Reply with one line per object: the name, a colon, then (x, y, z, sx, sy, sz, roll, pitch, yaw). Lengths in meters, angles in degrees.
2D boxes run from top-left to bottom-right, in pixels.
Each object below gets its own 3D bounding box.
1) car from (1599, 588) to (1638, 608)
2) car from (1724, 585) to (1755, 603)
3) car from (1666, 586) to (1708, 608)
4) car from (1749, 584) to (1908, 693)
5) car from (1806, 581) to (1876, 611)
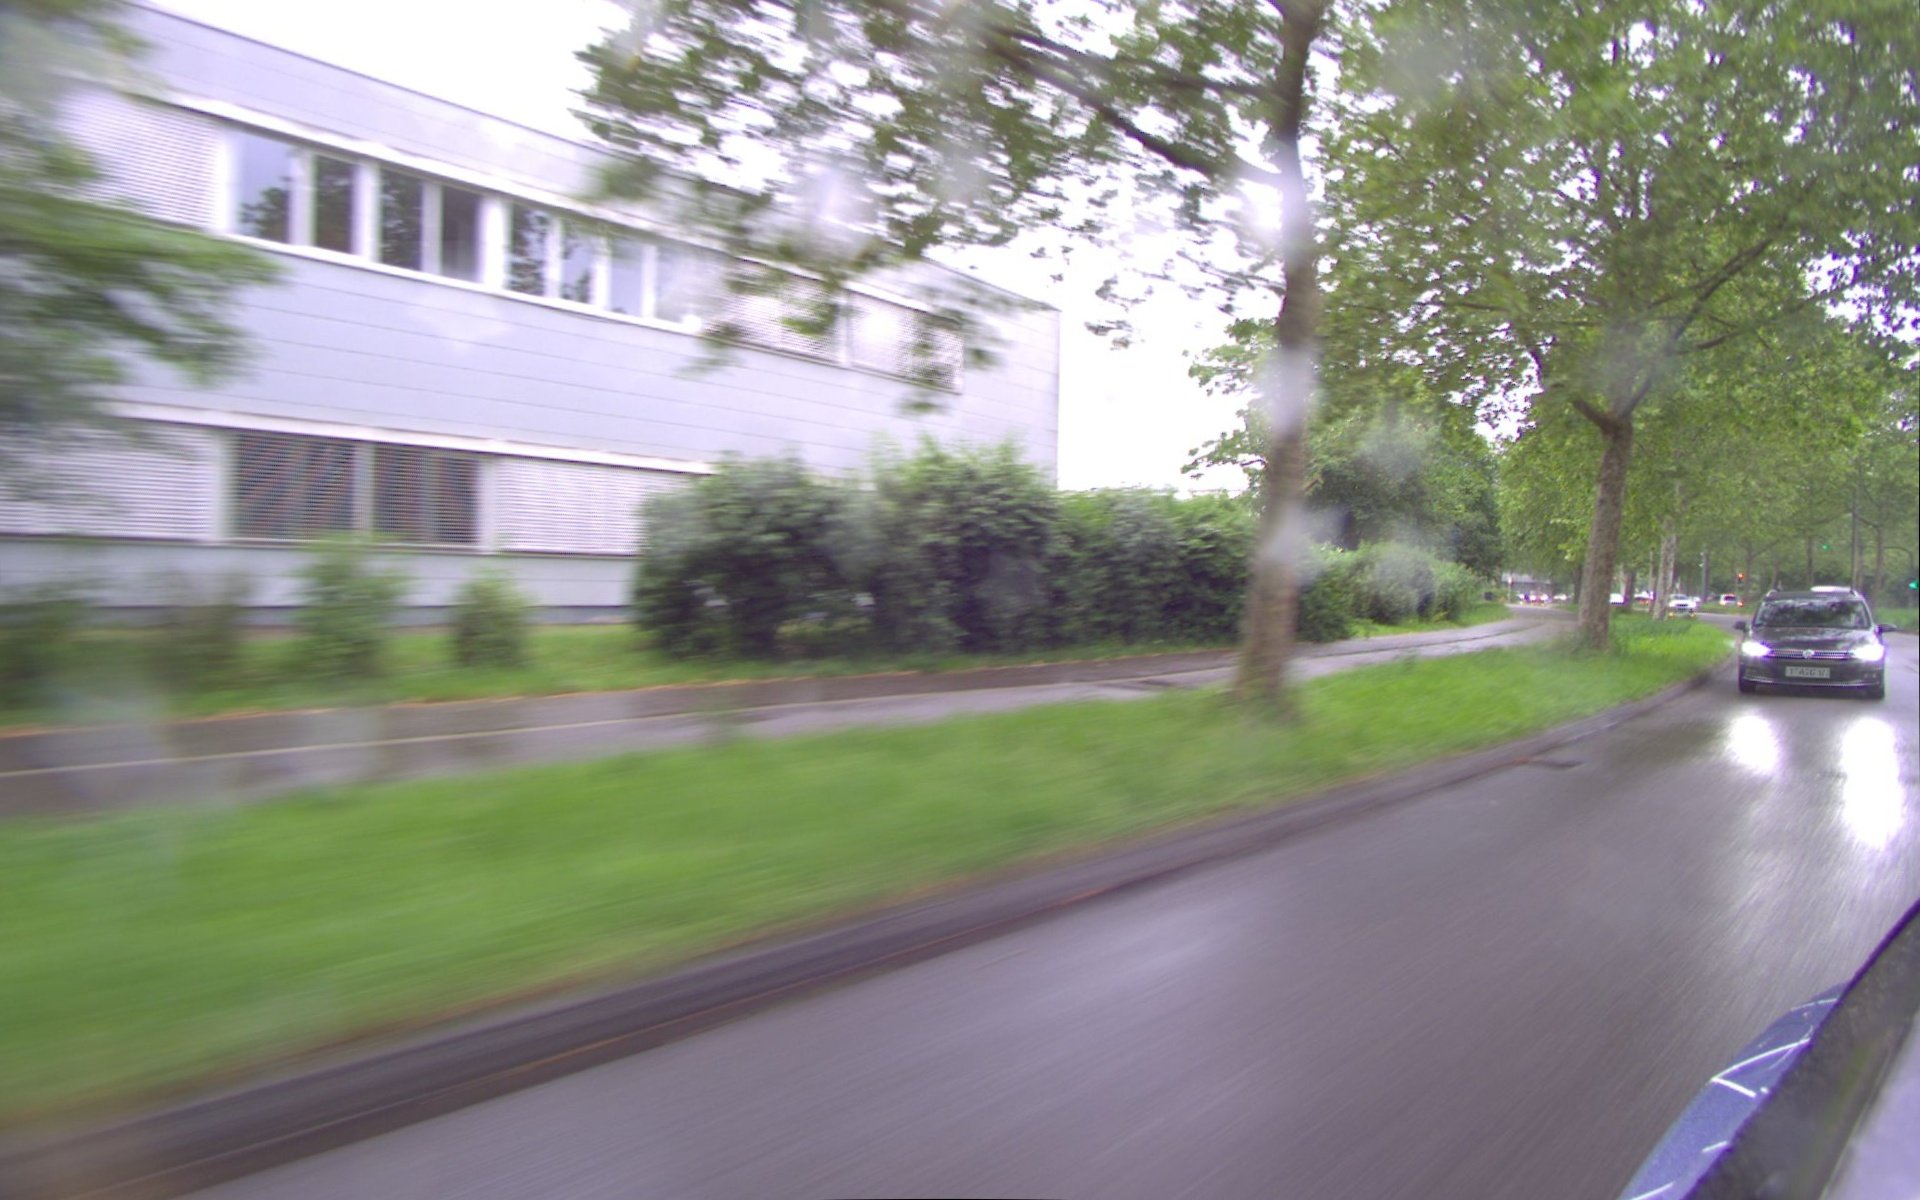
car: (53.104, -0.174, 81.684, 1.763, 1.575, 3.972, 0, 0, 21)
car: (84.213, -0.658, 109.421, 1.923, 1.964, 5.144, 1, 1, 29)
car: (54.425, -0.229, 75.826, 1.765, 1.575, 3.968, 0, 0, 23)
car: (14.241, 0.554, 16.637, 1.777, 1.575, 3.941, -1, -1, 41)
car: (74.892, -0.391, 86.163, 2.257, 2.457, 6.319, 1, 1, 19)
